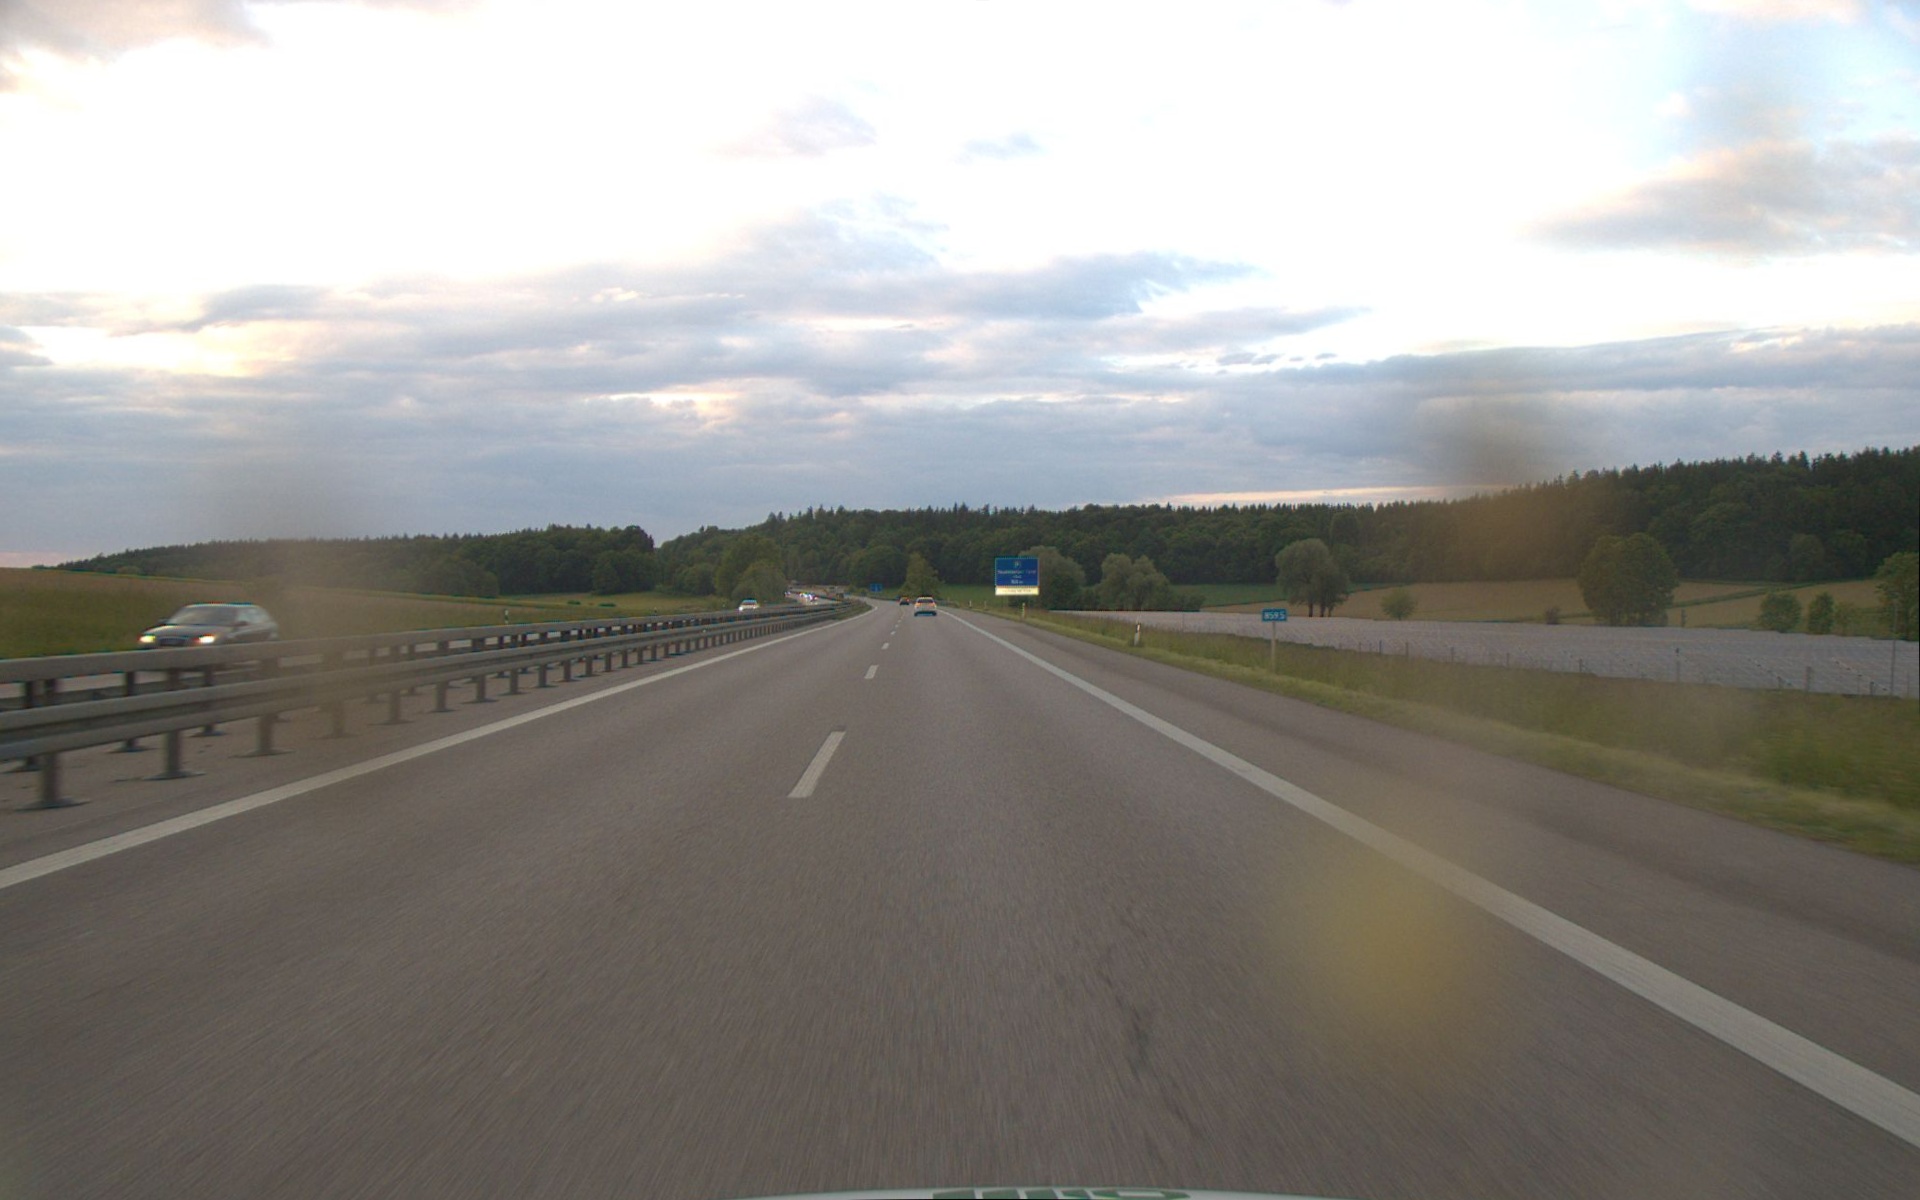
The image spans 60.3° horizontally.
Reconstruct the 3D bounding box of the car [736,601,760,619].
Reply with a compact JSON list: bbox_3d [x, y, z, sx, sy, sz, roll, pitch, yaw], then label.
[{"bbox_3d":[-20.521,0.955,160.346,1.754,1.729,4.588,1,0,-1],"label":"car"}]

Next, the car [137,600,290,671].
[{"bbox_3d":[-16.452,0.742,36.646,1.640,1.384,4.009,3,0,-2],"label":"car"}]

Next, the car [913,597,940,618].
[{"bbox_3d":[-2.721,0.609,133.572,1.913,1.558,4.077,1,0,-4],"label":"car"}]
